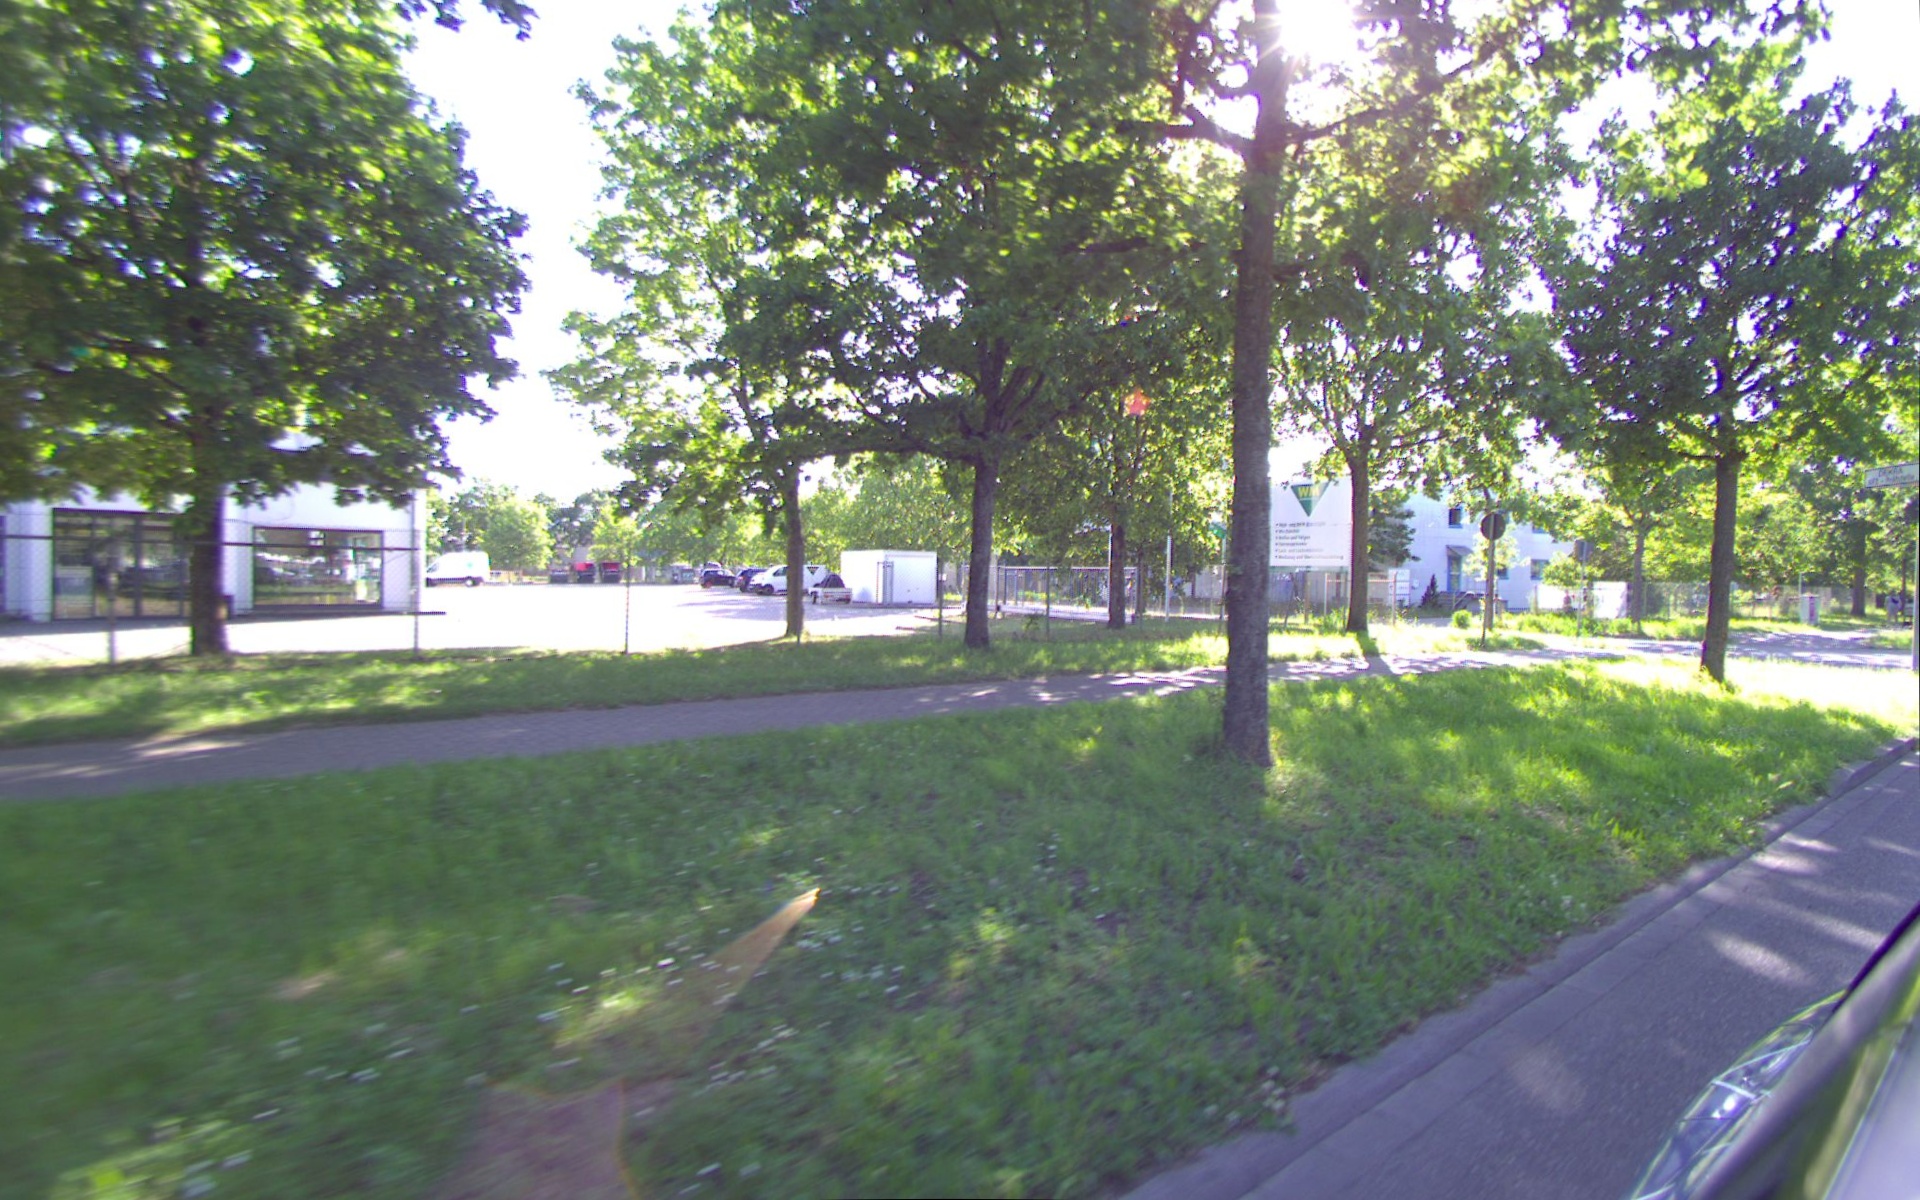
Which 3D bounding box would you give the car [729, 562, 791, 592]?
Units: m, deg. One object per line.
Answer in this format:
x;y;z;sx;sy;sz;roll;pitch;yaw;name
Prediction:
-13.943;-1.571;70.456;3.917;2.039;2.004;0;0;-23;car

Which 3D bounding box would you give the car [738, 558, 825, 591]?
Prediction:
-11.212;-1.590;63.600;5.009;2.039;2.003;-1;0;-25;car

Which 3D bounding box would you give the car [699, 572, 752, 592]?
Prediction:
-19.024;-1.453;82.188;3.917;1.635;1.903;0;0;-23;car

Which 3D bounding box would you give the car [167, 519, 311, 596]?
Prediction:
-26.463;-1.523;37.212;4.112;2.665;1.997;0;1;-42;car

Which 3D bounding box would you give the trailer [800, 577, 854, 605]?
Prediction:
-6.647;-0.458;50.303;1.695;1.282;3.604;1;1;-24;trailer

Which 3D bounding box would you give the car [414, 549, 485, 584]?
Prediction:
-41.272;-2.696;81.956;4.806;2.749;2.004;0;0;-12;car
